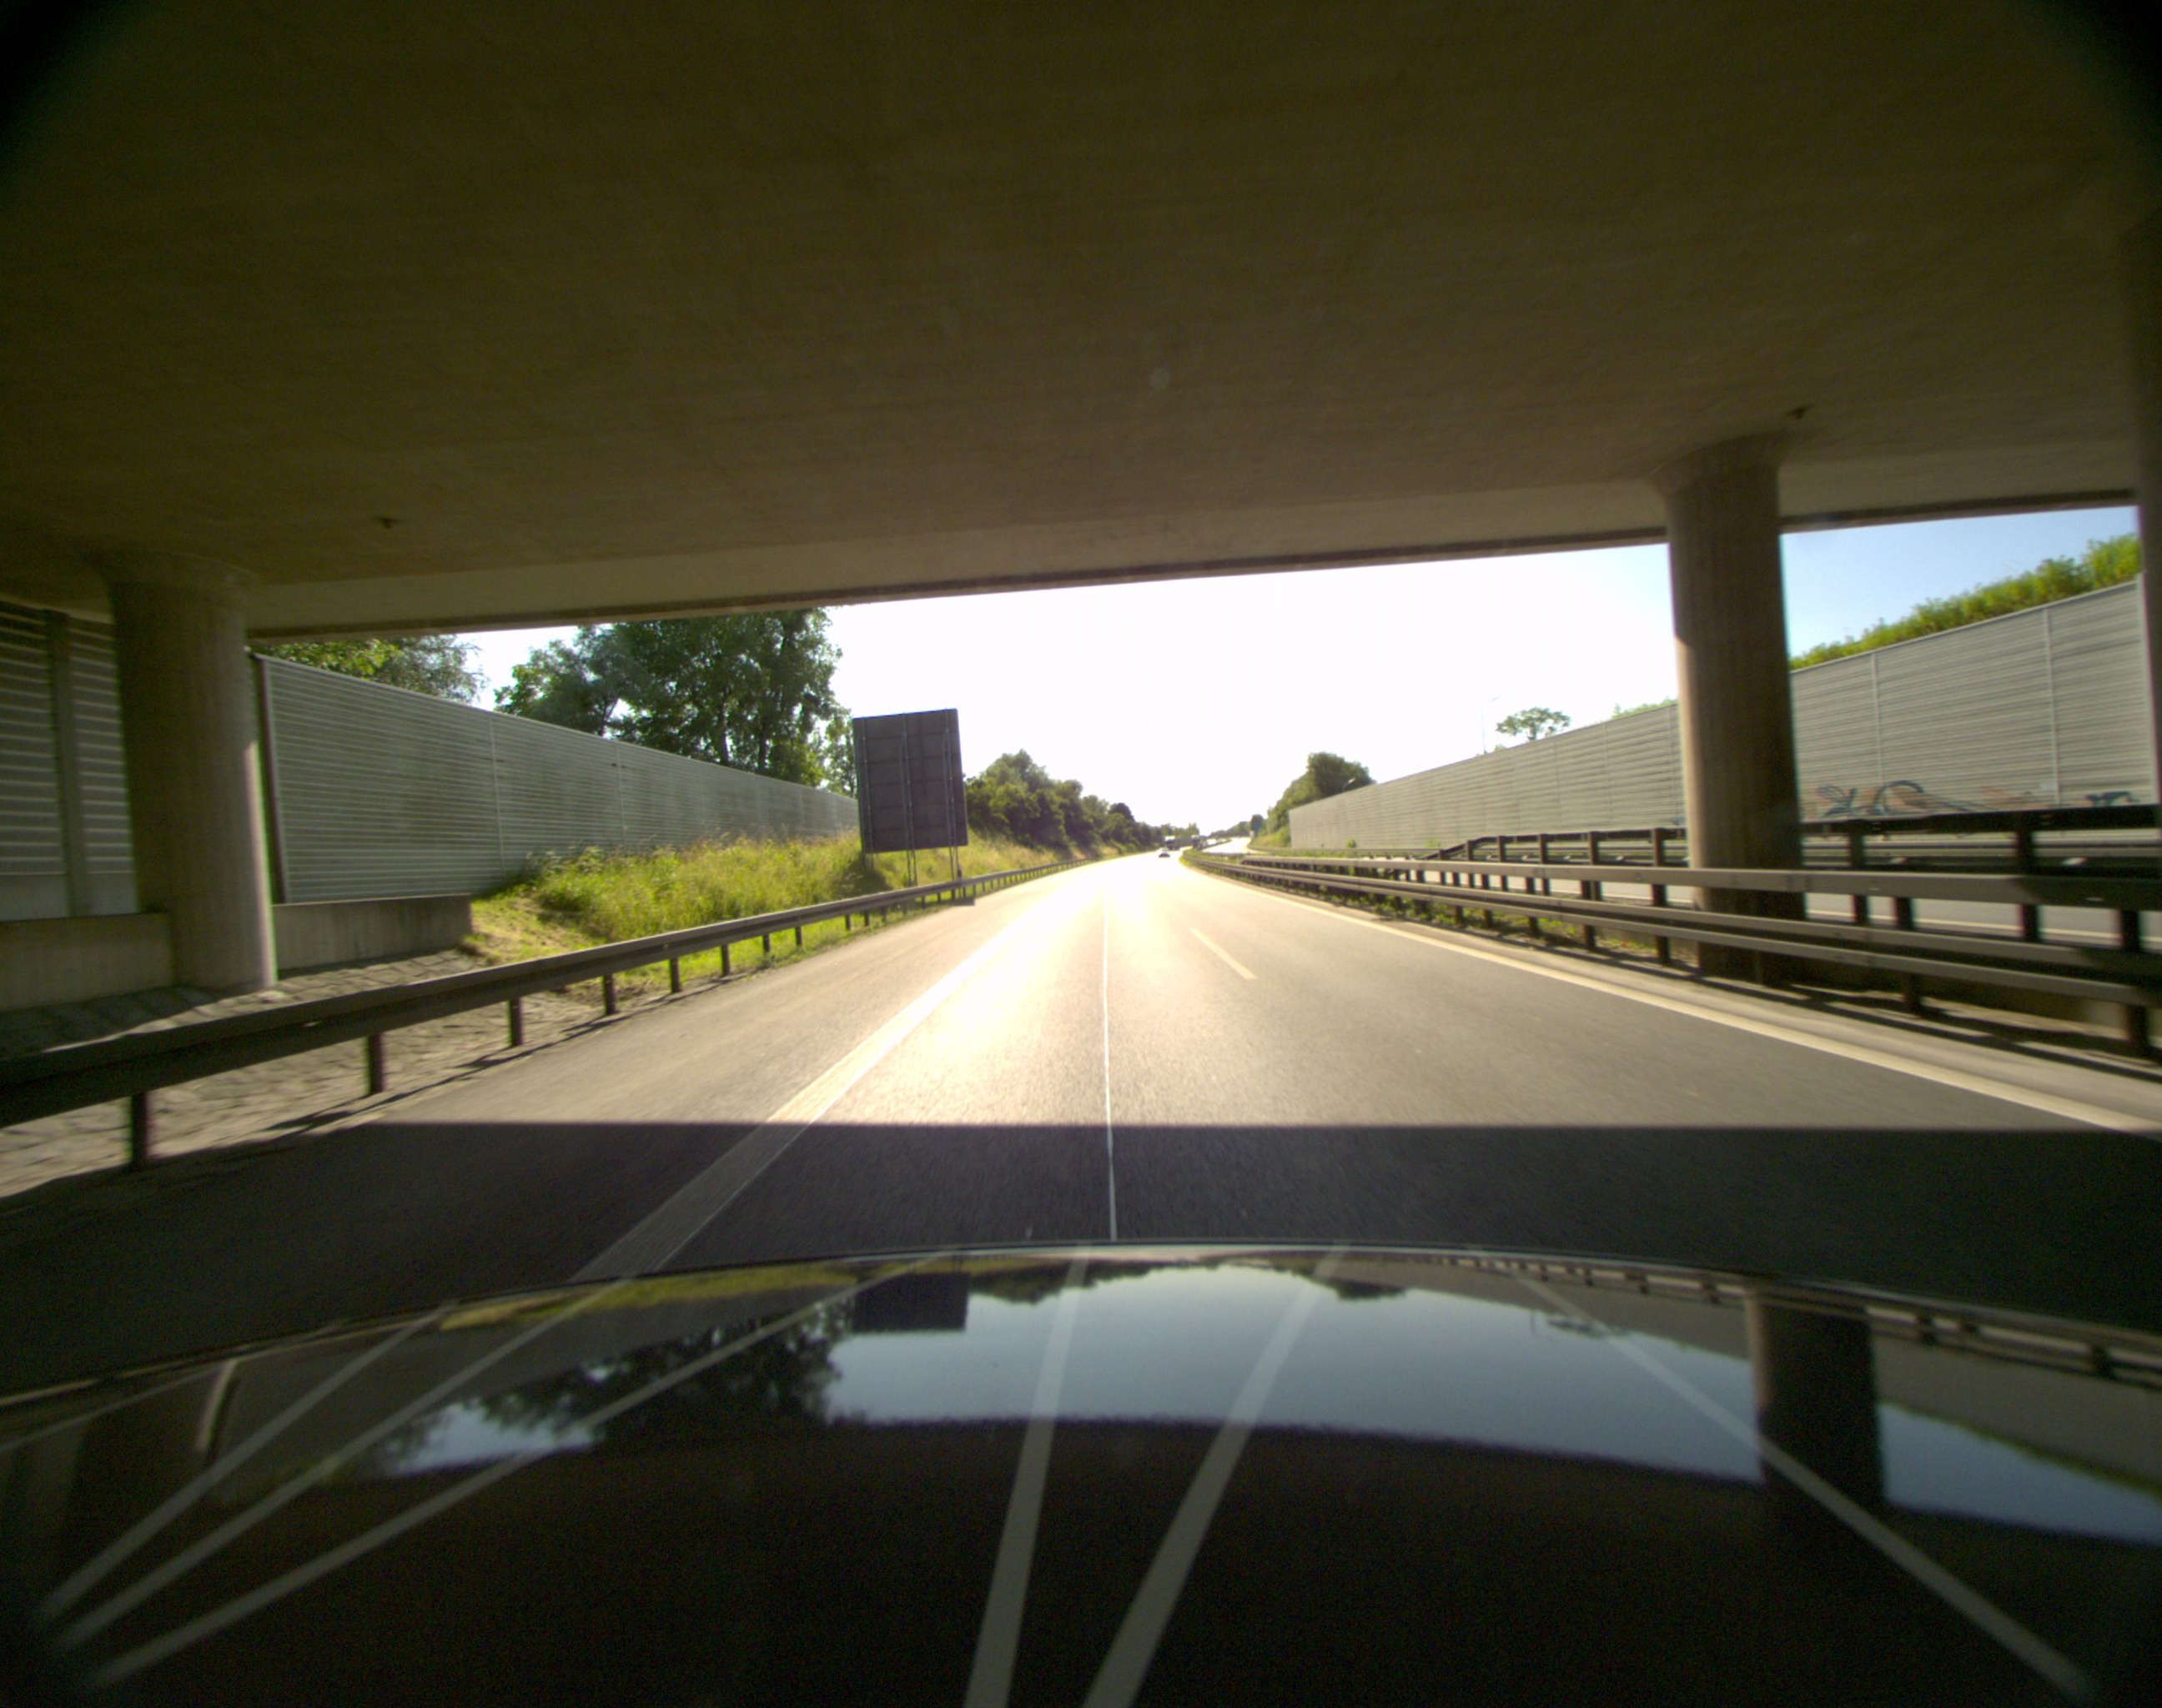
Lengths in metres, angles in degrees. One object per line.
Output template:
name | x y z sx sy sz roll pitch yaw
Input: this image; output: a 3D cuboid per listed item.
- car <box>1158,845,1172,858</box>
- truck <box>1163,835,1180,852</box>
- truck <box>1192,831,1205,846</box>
car | 13.008 -0.398 117.594 1.997 2.002 4.602 -2 0 6
truck | 23.740 -2.886 198.509 3.432 4.187 12.092 -2 1 10
truck | 36.650 -4.856 237.136 3.431 4.187 12.093 -2 1 11
